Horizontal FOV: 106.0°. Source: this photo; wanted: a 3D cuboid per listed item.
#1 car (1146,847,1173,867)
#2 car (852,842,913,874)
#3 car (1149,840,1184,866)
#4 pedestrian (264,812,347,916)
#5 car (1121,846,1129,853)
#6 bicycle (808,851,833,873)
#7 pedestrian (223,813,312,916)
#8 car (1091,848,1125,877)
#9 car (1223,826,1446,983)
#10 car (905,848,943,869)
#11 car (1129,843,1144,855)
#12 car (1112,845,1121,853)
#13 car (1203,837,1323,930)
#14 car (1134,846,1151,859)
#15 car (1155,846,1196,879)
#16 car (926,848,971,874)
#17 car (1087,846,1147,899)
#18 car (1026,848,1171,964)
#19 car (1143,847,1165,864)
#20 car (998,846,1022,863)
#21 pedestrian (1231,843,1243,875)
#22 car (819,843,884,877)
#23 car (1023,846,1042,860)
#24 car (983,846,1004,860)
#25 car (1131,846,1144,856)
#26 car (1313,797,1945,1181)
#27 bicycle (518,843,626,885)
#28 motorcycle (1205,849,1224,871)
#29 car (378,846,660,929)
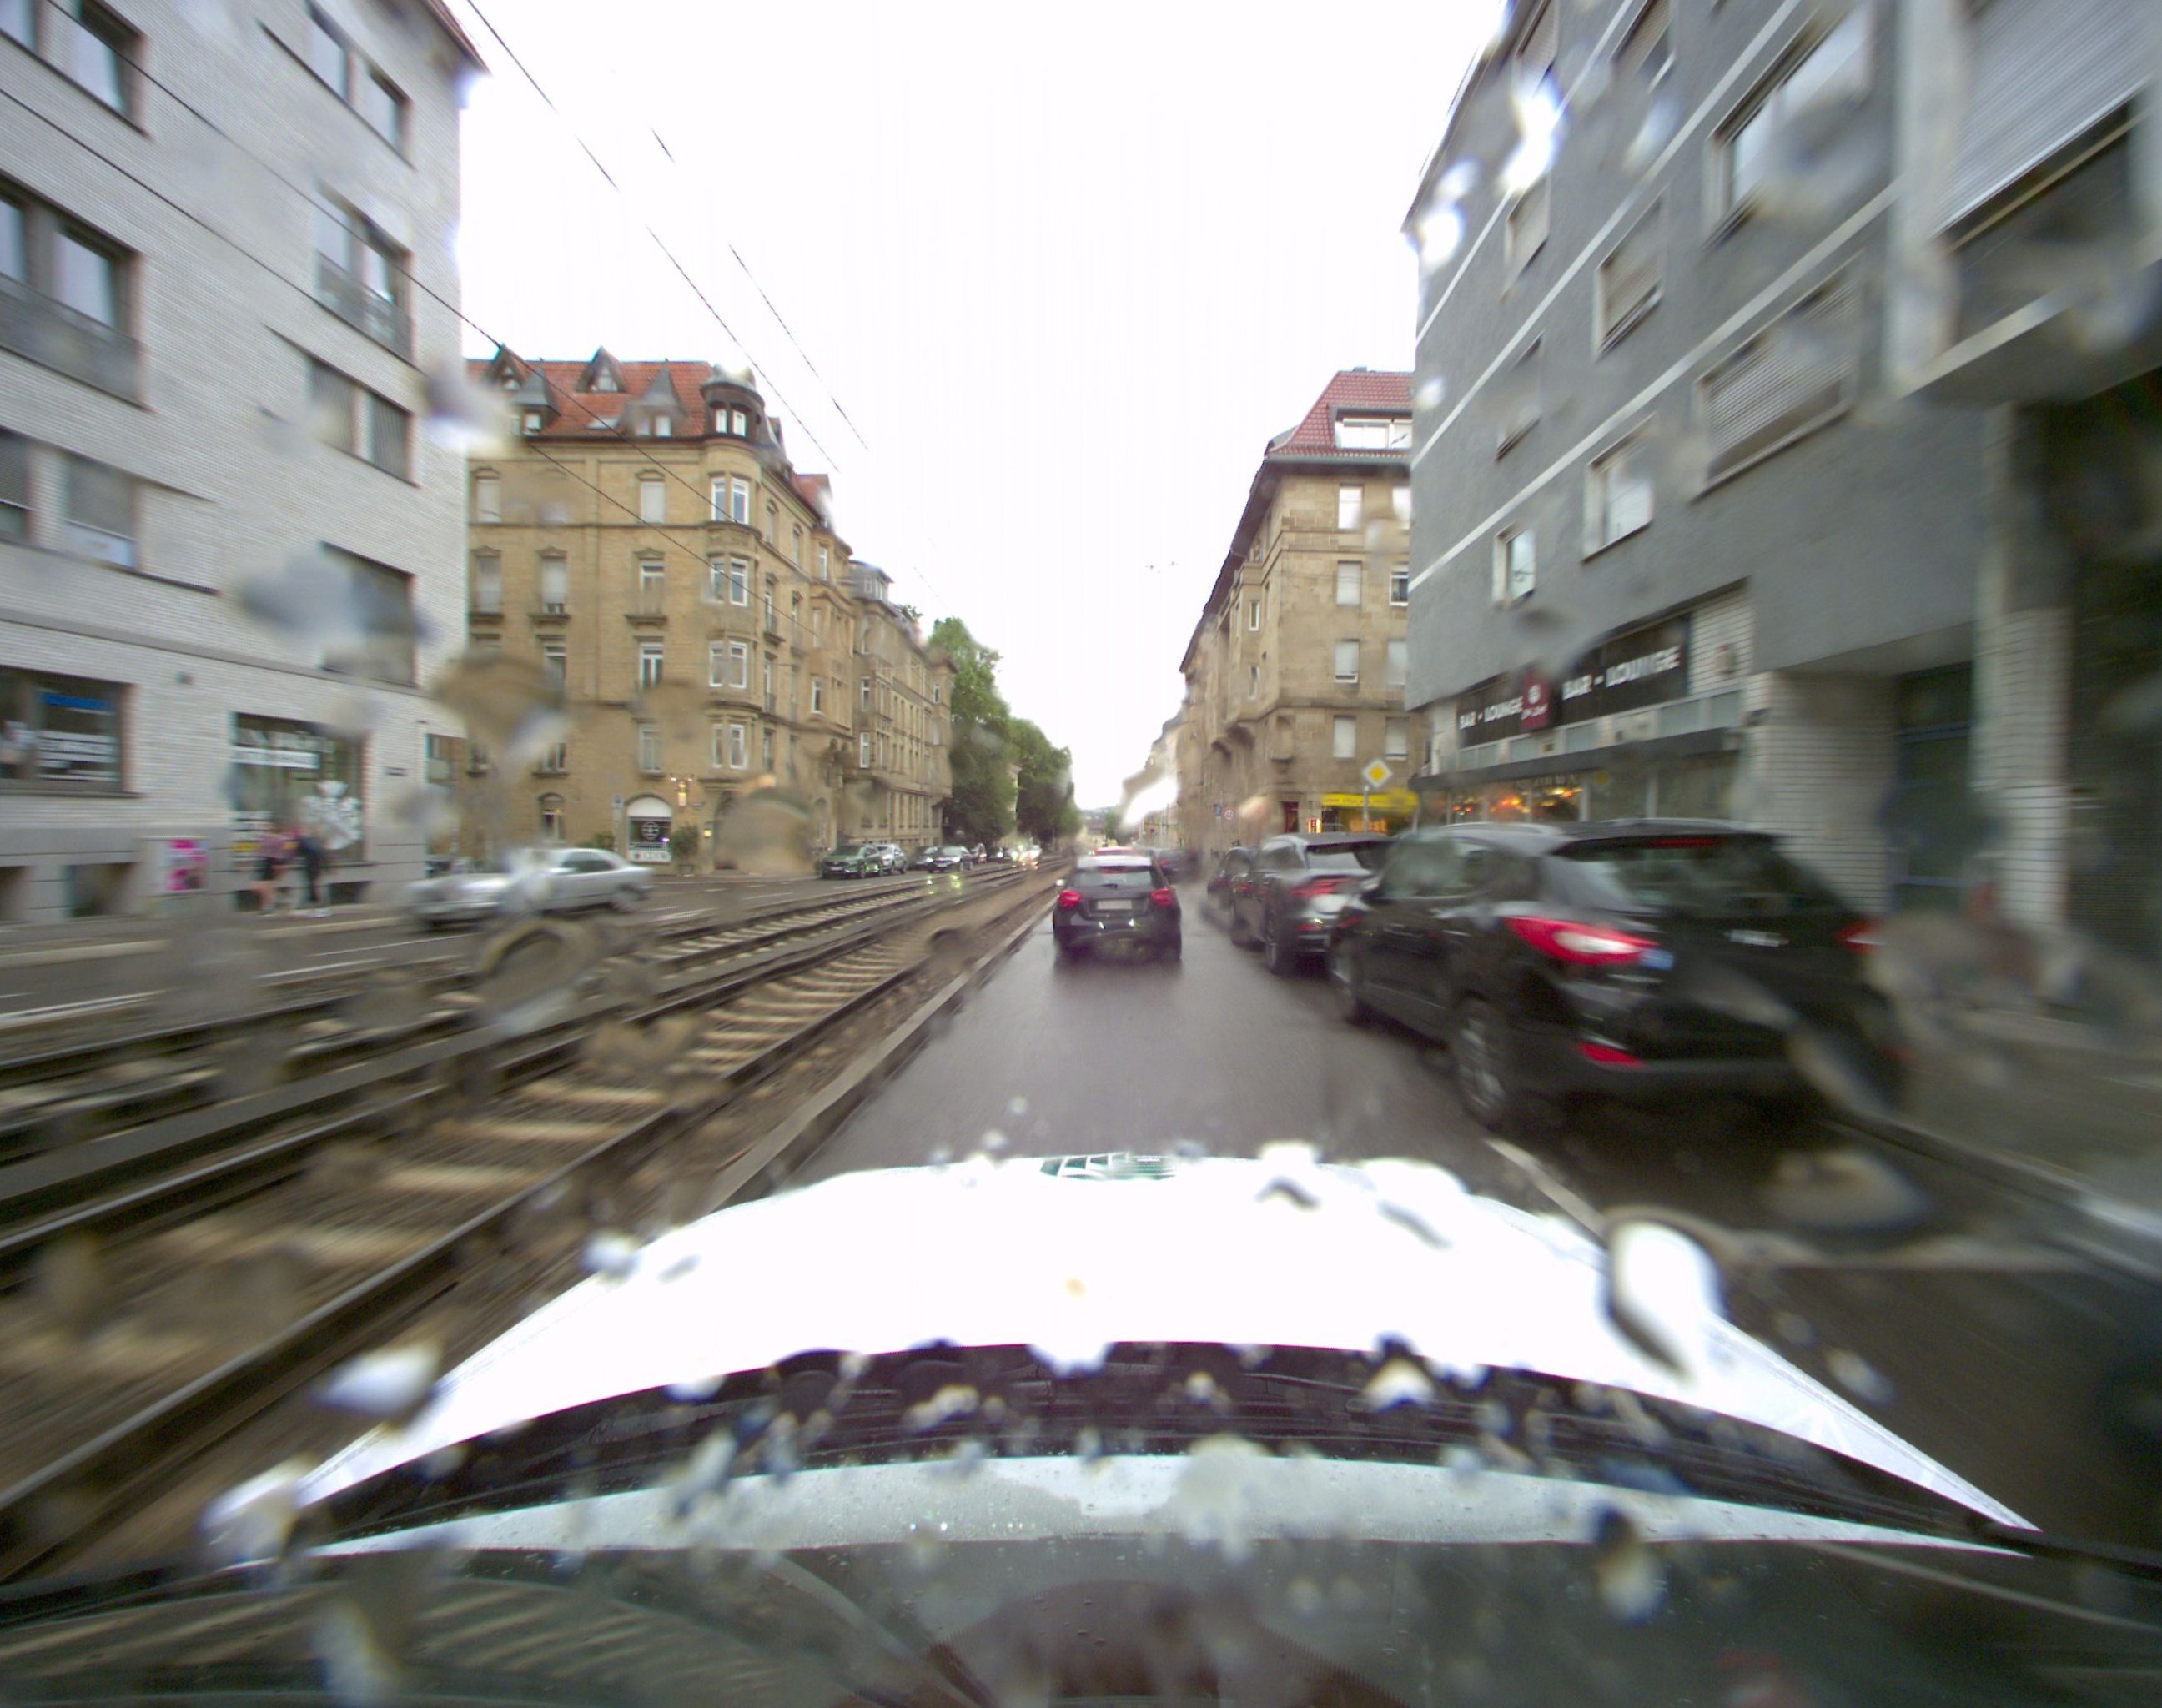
[{"bbox_3d":[5.340,0.163,55.443,1.607,1.317,4.003,0,1,2],"label":"car"},{"bbox_3d":[-10.501,0.193,43.435,1.798,1.597,4.531,0,1,4],"label":"car"},{"bbox_3d":[4.481,-0.082,43.151,1.607,1.317,4.003,0,1,2],"label":"car"},{"bbox_3d":[-13.869,0.178,14.594,0.627,1.787,0.882,-1,-1,1],"label":"pedestrian"},{"bbox_3d":[9.479,-0.959,174.941,1.607,1.317,4.003,0,1,2],"label":"car"},{"bbox_3d":[-12.600,0.386,39.451,0.596,1.000,2.078,0,1,-2],"label":"bicycle"},{"bbox_3d":[-14.564,0.191,14.607,0.638,1.787,0.924,-1,-1,1],"label":"pedestrian"},{"bbox_3d":[1.345,0.383,39.914,1.607,1.317,4.003,0,1,2],"label":"car"},{"bbox_3d":[3.115,0.519,11.060,1.743,1.670,4.706,0,1,2],"label":"car"},{"bbox_3d":[-10.240,0.252,53.286,1.562,1.316,3.485,0,1,4],"label":"car"},{"bbox_3d":[6.467,-0.596,94.442,1.607,1.317,4.003,0,1,2],"label":"car"},{"bbox_3d":[6.587,-0.952,149.425,1.607,1.317,4.003,0,1,2],"label":"car"},{"bbox_3d":[3.440,0.493,16.062,1.607,1.605,4.003,0,1,2],"label":"car"},{"bbox_3d":[6.560,-0.168,87.168,1.607,1.317,4.003,0,1,2],"label":"car"},{"bbox_3d":[4.368,0.353,38.039,1.615,1.484,4.003,0,1,2],"label":"car"},{"bbox_3d":[-7.399,0.386,45.818,1.687,1.388,3.485,0,1,4],"label":"car"},{"bbox_3d":[1.064,0.489,24.584,1.643,1.452,4.002,0,1,2],"label":"car"},{"bbox_3d":[0.362,0.672,12.600,1.858,1.452,4.005,-1,1,4],"label":"car"},{"bbox_3d":[5.787,0.095,64.931,1.607,1.317,4.003,0,1,2],"label":"car"},{"bbox_3d":[-6.258,0.011,72.132,1.562,1.413,3.485,0,1,4],"label":"car"},{"bbox_3d":[7.146,0.223,37.315,0.453,1.466,0.611,1,0,2],"label":"pedestrian"},{"bbox_3d":[-10.718,0.248,38.336,1.714,1.541,3.938,0,1,4],"label":"car"},{"bbox_3d":[-5.273,-0.121,88.735,1.562,1.413,3.485,0,1,4],"label":"car"},{"bbox_3d":[-8.854,-0.140,82.843,1.562,1.413,3.485,0,1,4],"label":"car"},{"bbox_3d":[7.333,-0.430,105.385,1.607,1.317,4.003,0,1,2],"label":"car"},{"bbox_3d":[2.988,0.573,5.629,1.677,1.670,4.124,0,1,1],"label":"car"},{"bbox_3d":[-19.813,0.365,31.794,3.143,1.584,1.594,-1,0,-8],"label":"bicycle"},{"bbox_3d":[8.228,0.371,50.244,0.876,1.315,2.397,1,0,2],"label":"motorcycle"},{"bbox_3d":[-10.517,0.538,15.813,1.797,1.360,4.771,0,1,6],"label":"car"}]
